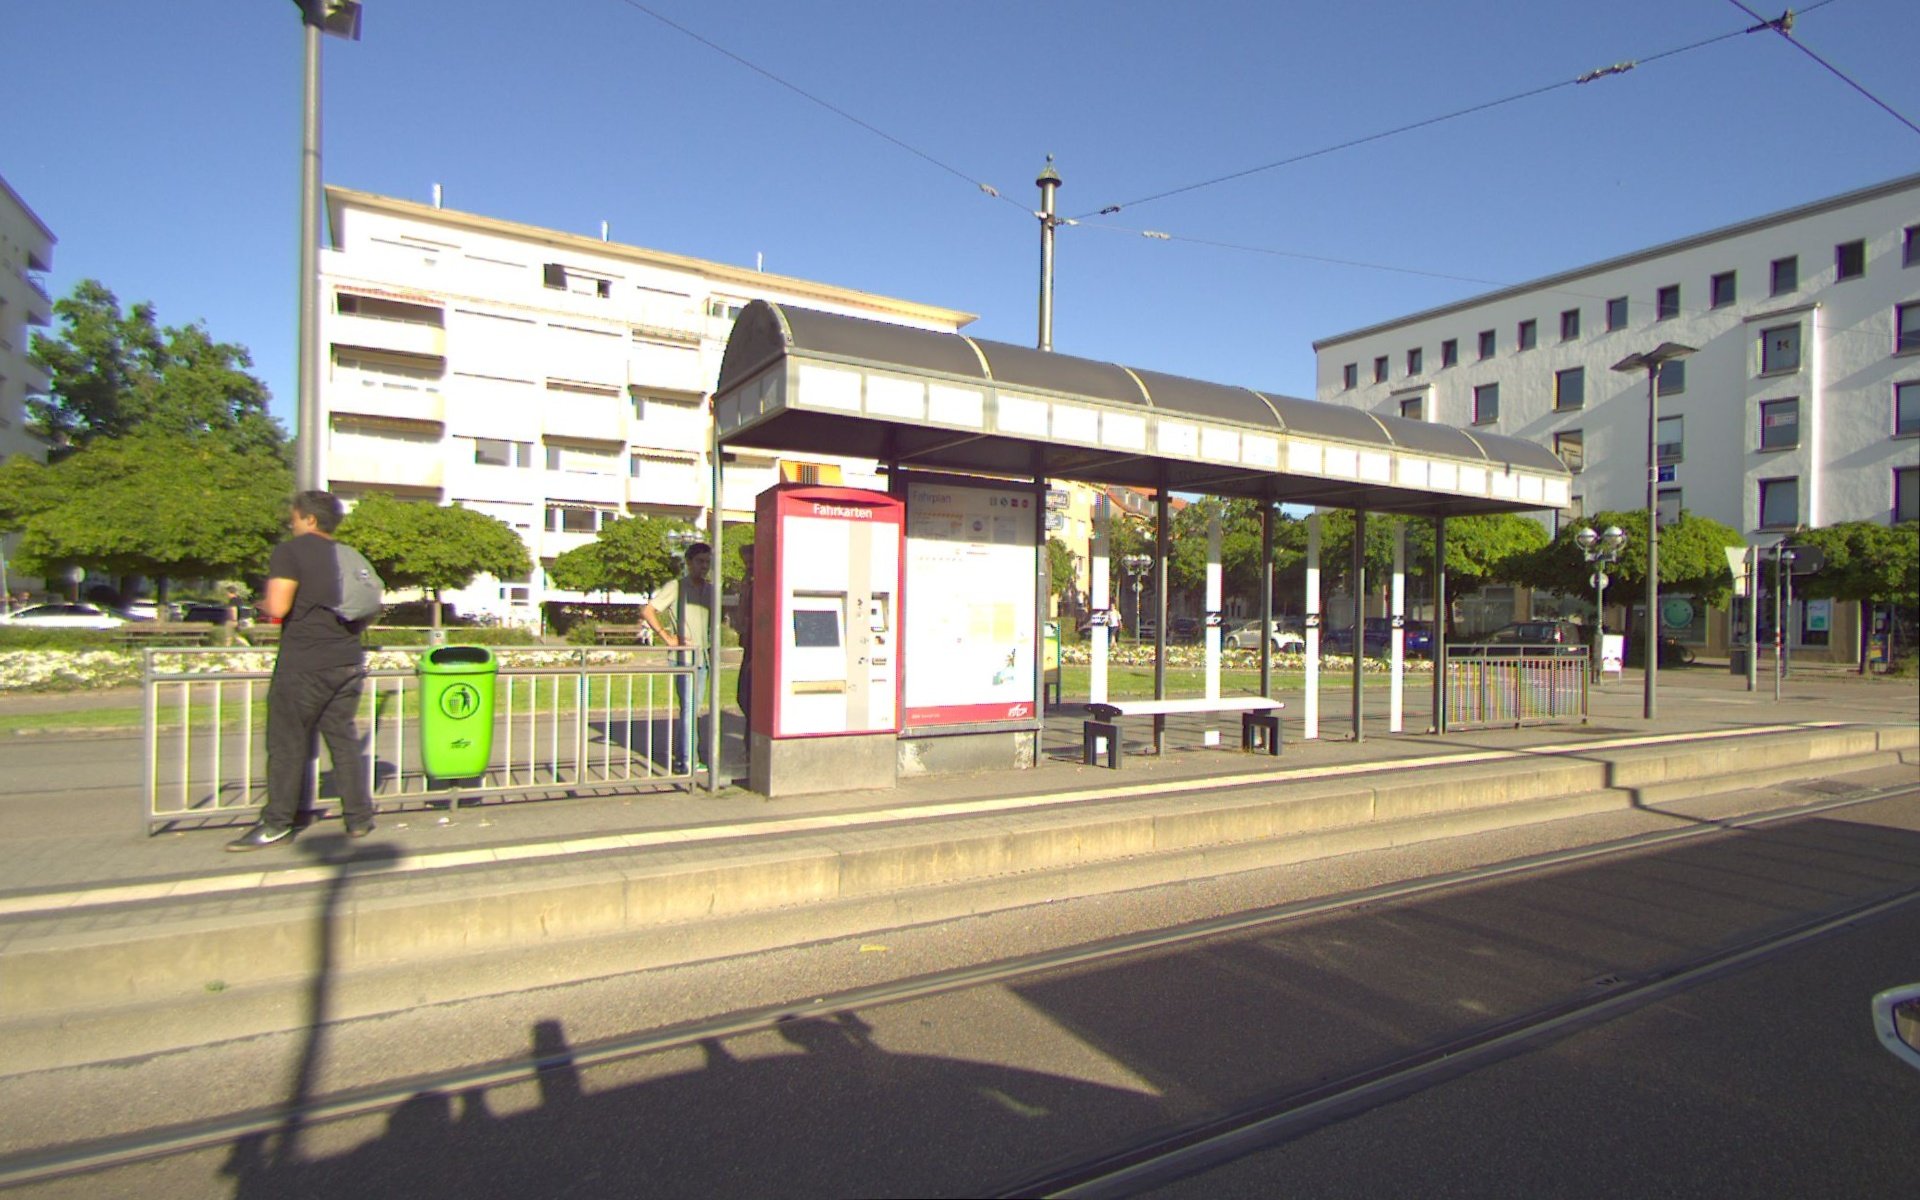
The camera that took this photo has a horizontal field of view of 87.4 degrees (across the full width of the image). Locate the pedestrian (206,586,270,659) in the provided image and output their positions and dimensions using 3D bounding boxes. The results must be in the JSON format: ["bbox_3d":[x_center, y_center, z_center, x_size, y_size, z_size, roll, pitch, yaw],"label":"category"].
[{"bbox_3d":[-18.581,0.579,25.891,1.162,1.811,1.074,1,0,-28],"label":"pedestrian"}]

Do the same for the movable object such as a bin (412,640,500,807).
[{"bbox_3d":[-2.784,0.663,5.554,0.411,0.871,0.335,1,-1,-27],"label":"movable object such as a bin"}]

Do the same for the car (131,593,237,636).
[{"bbox_3d":[-28.617,0.551,37.141,2.899,1.506,1.407,1,-1,-30],"label":"car"}]

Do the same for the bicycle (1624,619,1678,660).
[{"bbox_3d":[27.872,1.599,40.496,2.585,1.628,0.616,1,-1,-26],"label":"bicycle"}]

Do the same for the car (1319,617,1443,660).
[{"bbox_3d":[17.853,1.591,42.822,1.978,1.684,4.581,1,-1,-31],"label":"car"}]

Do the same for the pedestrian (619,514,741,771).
[{"bbox_3d":[-2.087,0.313,7.473,0.760,1.797,0.613,1,-3,-28],"label":"pedestrian"}]

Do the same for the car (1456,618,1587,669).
[{"bbox_3d":[21.054,1.595,37.833,1.804,1.728,3.968,1,-1,-30],"label":"car"}]

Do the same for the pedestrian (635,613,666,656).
[{"bbox_3d":[-10.335,1.147,33.547,0.673,1.378,1.042,1,-1,-34],"label":"pedestrian"}]

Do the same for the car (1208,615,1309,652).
[{"bbox_3d":[14.166,1.559,47.962,1.835,1.628,4.581,1,-1,-31],"label":"car"}]

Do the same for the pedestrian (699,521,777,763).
[{"bbox_3d":[-1.801,0.339,8.135,0.519,1.883,0.426,1,-3,-27],"label":"pedestrian"}]

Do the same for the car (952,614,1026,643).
[{"bbox_3d":[1.432,1.420,49.511,3.271,1.372,1.638,1,-1,-29],"label":"car"}]

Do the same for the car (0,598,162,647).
[{"bbox_3d":[-25.591,0.649,29.009,3.672,1.318,1.984,1,-1,-30],"label":"car"}]

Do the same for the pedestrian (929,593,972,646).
[{"bbox_3d":[-0.371,0.780,39.647,1.219,2.040,1.214,1,-1,-30],"label":"pedestrian"}]

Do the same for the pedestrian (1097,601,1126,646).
[{"bbox_3d":[6.306,0.984,41.800,0.856,1.841,0.944,1,0,-19],"label":"pedestrian"}]

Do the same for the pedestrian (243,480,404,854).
[{"bbox_3d":[-3.172,0.323,5.059,0.599,1.740,0.546,1,-3,-28],"label":"pedestrian"}]

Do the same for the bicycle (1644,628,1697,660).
[{"bbox_3d":[28.198,1.753,39.852,2.586,1.206,0.615,1,-1,-27],"label":"bicycle"}]

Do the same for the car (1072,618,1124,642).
[{"bbox_3d":[9.255,2.004,67.127,1.887,1.514,4.343,2,0,31],"label":"car"}]

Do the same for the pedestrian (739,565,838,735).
[{"bbox_3d":[-1.814,0.513,10.623,0.978,1.702,0.973,0,-1,-10],"label":"pedestrian"}]
